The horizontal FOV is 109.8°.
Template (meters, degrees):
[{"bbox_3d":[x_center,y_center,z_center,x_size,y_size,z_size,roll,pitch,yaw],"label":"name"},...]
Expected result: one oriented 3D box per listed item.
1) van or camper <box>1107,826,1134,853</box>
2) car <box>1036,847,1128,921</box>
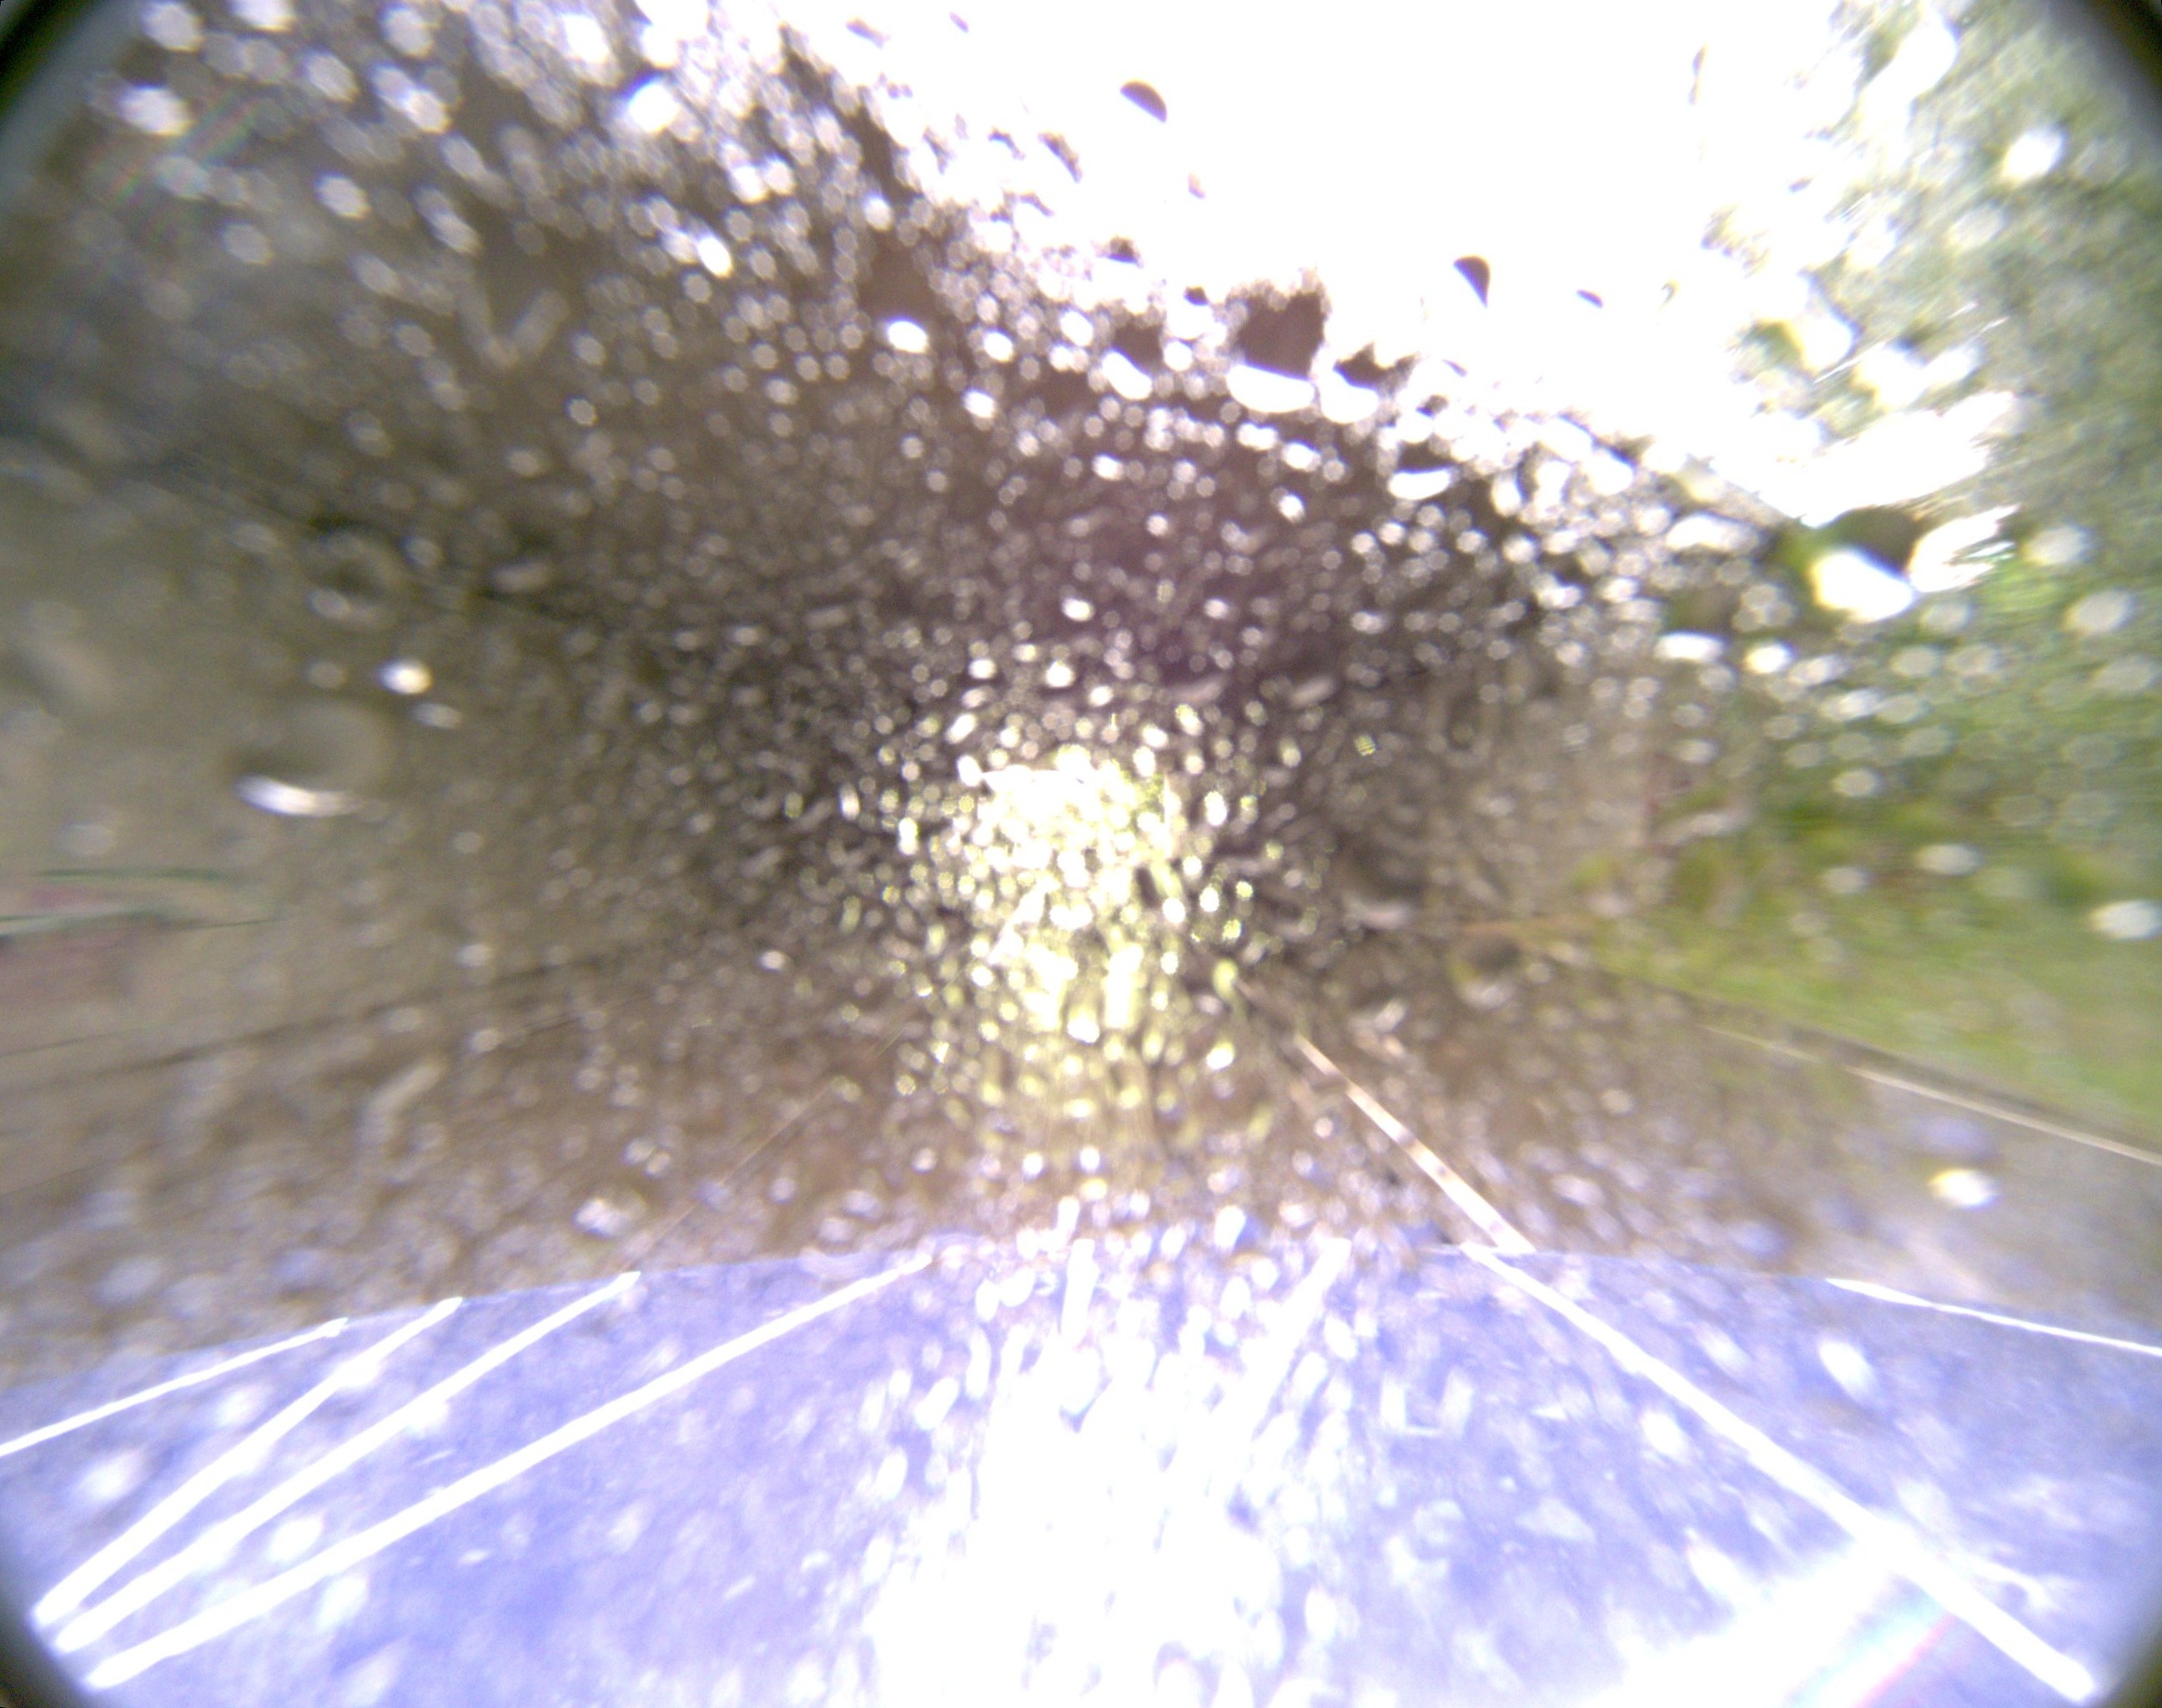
[{"bbox_3d":[3.315,-1.262,64.157,1.998,2.086,4.690,-3,2,0],"label":"van or camper"},{"bbox_3d":[-0.085,0.571,17.472,1.767,1.316,4.546,-3,2,-3],"label":"car"}]
